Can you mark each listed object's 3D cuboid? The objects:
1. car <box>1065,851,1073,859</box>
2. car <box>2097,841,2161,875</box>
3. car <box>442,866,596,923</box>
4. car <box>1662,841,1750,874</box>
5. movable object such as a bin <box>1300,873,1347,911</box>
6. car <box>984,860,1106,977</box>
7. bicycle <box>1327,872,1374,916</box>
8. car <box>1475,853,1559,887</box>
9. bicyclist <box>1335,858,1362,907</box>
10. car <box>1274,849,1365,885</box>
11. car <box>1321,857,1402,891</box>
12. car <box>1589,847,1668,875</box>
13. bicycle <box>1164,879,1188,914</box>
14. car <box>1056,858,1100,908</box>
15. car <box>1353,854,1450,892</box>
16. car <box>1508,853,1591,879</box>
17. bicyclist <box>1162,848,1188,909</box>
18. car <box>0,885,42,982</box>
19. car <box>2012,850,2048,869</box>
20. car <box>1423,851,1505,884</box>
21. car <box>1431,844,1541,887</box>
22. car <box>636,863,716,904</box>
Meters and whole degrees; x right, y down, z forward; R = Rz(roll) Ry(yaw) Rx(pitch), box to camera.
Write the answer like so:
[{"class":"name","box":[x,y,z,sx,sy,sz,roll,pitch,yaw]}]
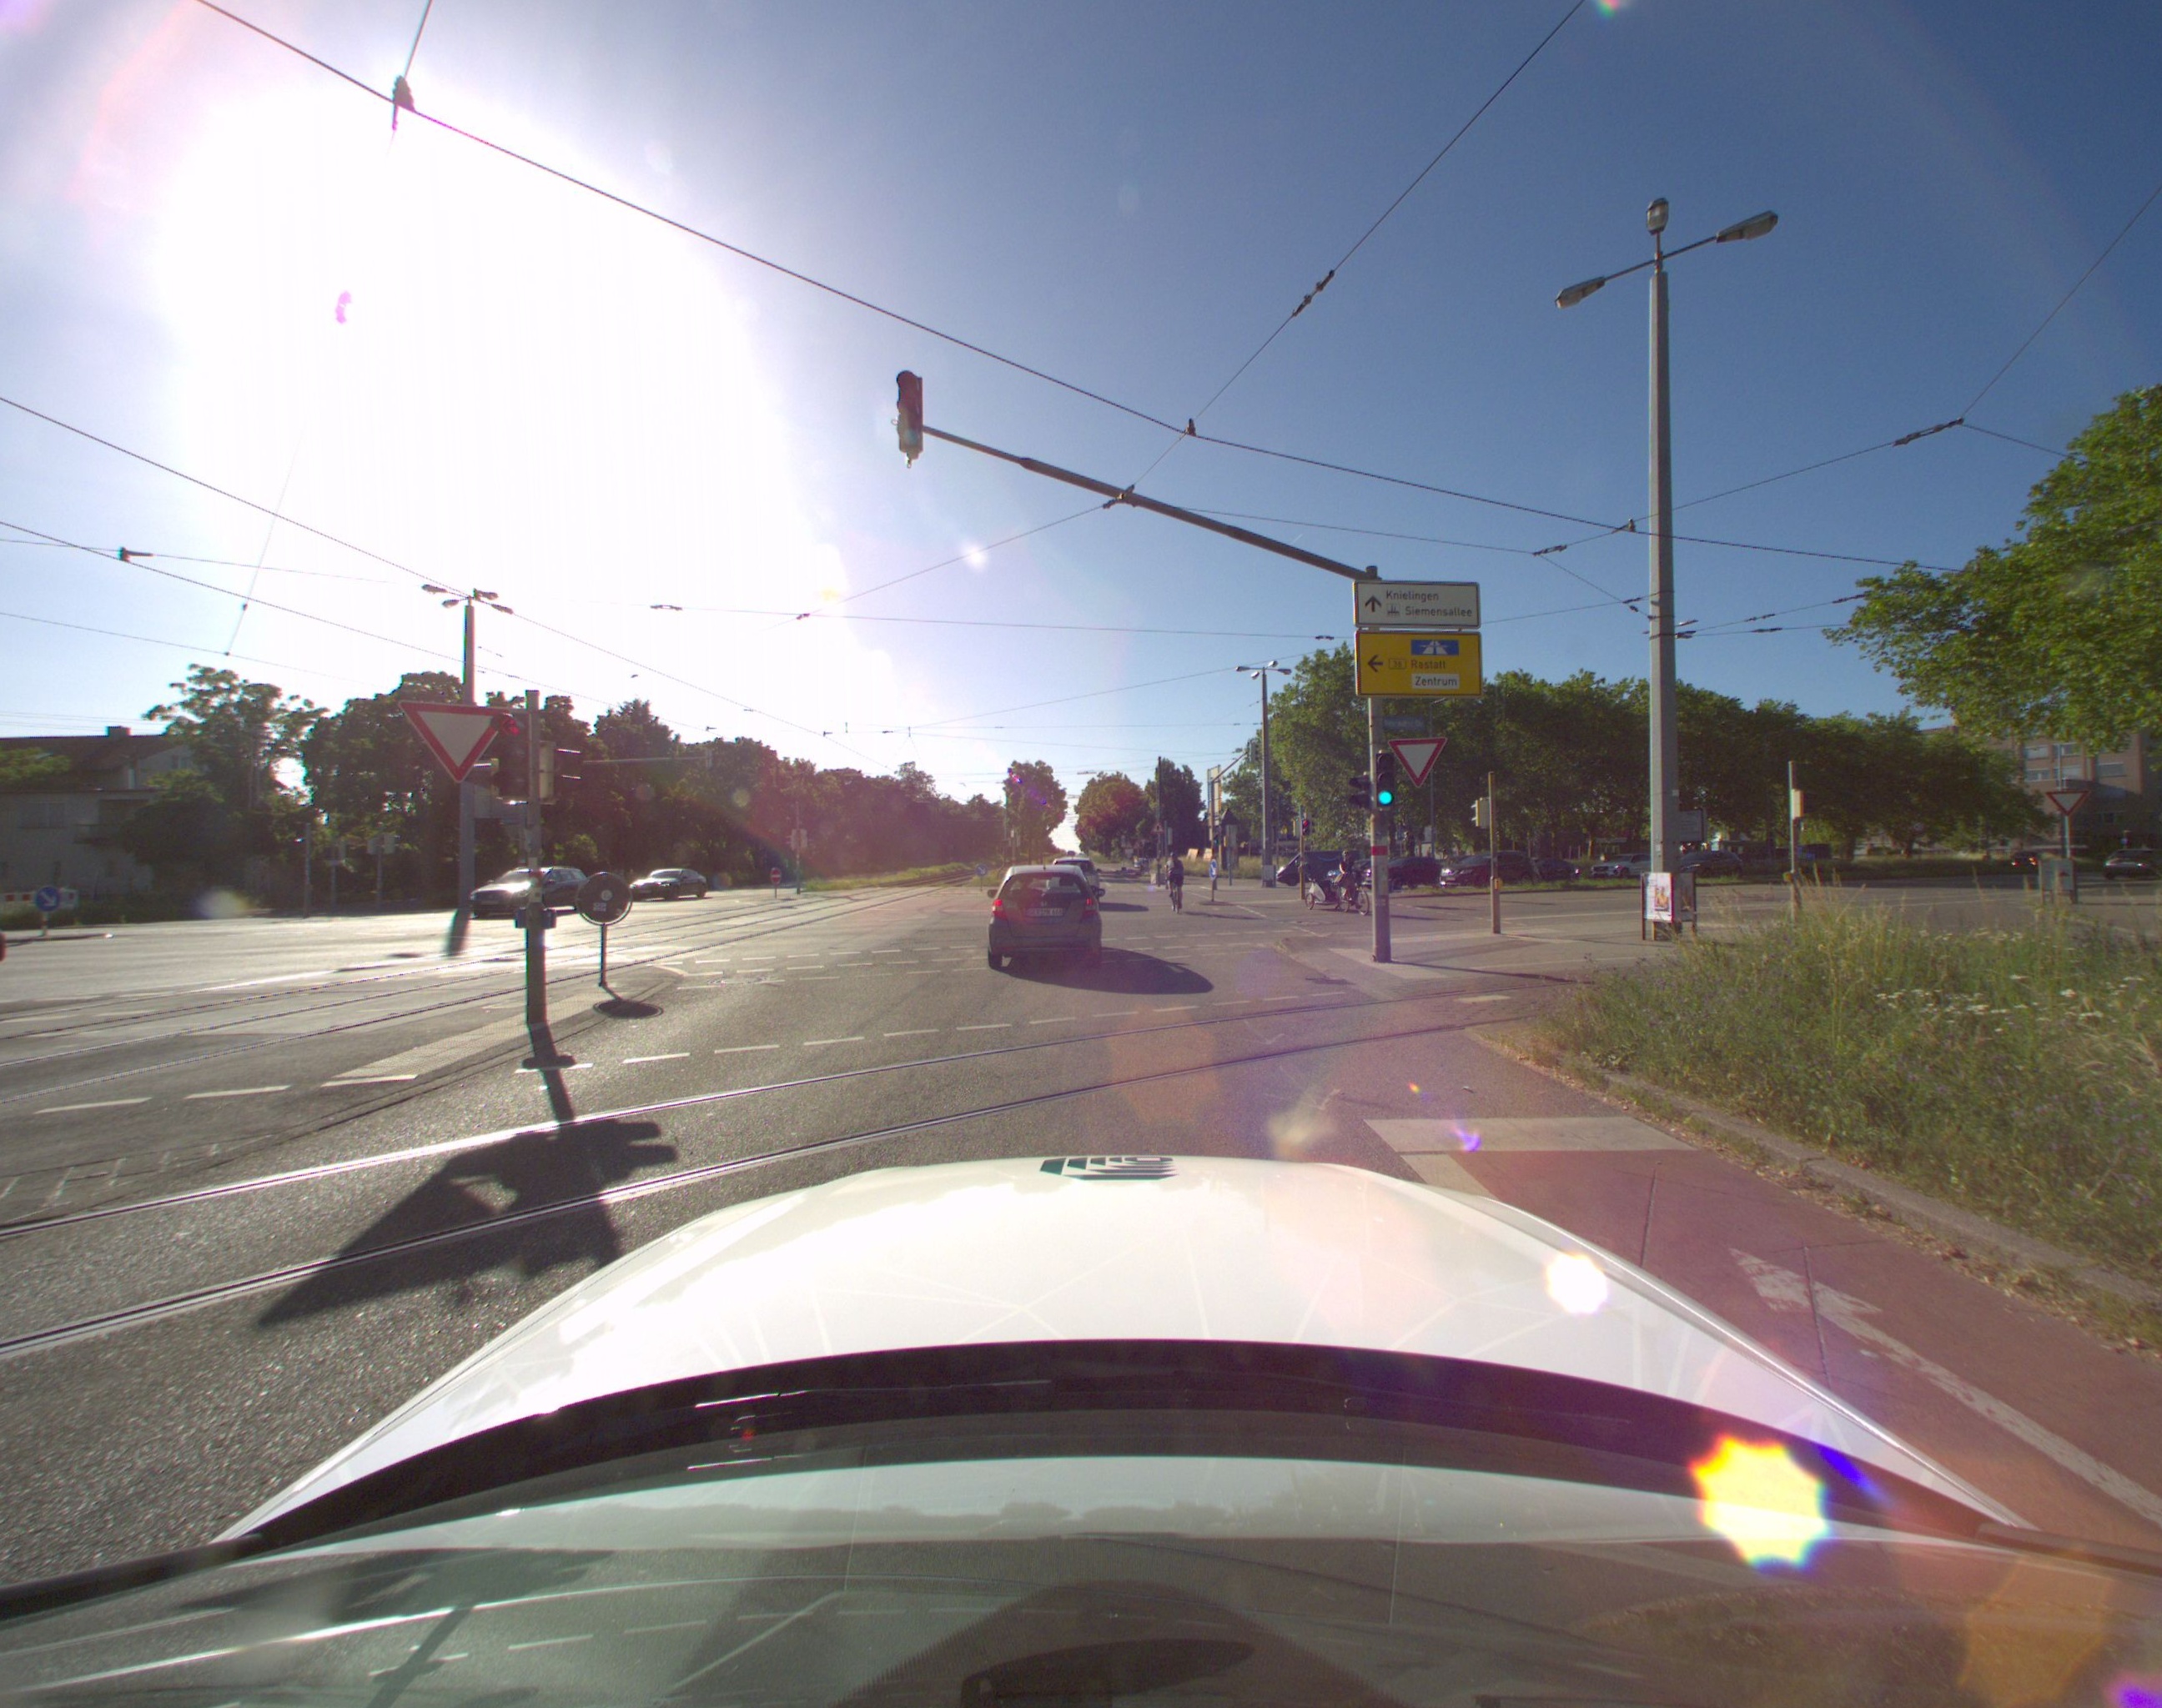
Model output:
[{"class":"car","box":[-3.180,0.355,213.496,1.986,2.014,4.000,-1,-1,1]},{"class":"car","box":[54.473,0.216,41.956,3.779,1.704,1.812,0,-1,-25]},{"class":"car","box":[-17.732,1.216,26.025,1.809,1.596,4.688,-1,-1,-3]},{"class":"car","box":[32.178,0.146,41.925,4.007,1.618,1.983,-1,0,-26]},{"class":"movable object such as a bin","box":[7.160,1.114,24.152,0.907,1.068,1.314,-1,-1,-5]},{"class":"car","box":[-0.440,0.908,13.084,1.664,1.515,3.675,1,1,1]},{"class":"bicycle","box":[7.377,1.073,22.352,0.466,1.119,1.815,-1,-1,-8]},{"class":"car","box":[22.121,0.781,41.304,3.863,1.600,1.700,-1,-1,-23]},{"class":"bicyclist","box":[7.442,0.792,22.664,0.509,1.340,0.563,-1,-1,-9]},{"class":"car","box":[14.470,0.780,49.638,5.073,2.070,2.136,-1,-1,8]},{"class":"car","box":[14.484,1.007,42.013,3.868,1.600,1.698,-1,-1,-27]},{"class":"car","box":[33.514,0.461,49.838,4.784,1.682,1.893,1,-2,-26]},{"class":"bicycle","box":[2.737,1.213,23.613,0.522,0.923,2.090,-1,-1,2]},{"class":"car","box":[-0.071,0.931,27.212,1.346,1.528,3.123,-1,-1,1]},{"class":"car","box":[14.866,0.856,37.804,4.094,1.600,1.802,-1,-1,-23]},{"class":"car","box":[27.162,0.672,47.237,4.579,1.408,1.918,-1,-1,-26]},{"class":"bicyclist","box":[2.687,0.697,23.407,0.613,1.679,0.933,-1,-1,1]},{"class":"car","box":[-17.188,1.207,10.963,1.678,1.458,3.701,-1,-1,-1]},{"class":"car","box":[85.769,0.515,73.596,3.216,1.616,1.361,-1,-1,-27]},{"class":"car","box":[20.988,0.744,44.625,4.184,1.678,1.918,-1,-1,-27]},{"class":"car","box":[17.529,0.483,35.233,4.504,1.711,1.904,-1,-1,-26]},{"class":"car","box":[-17.900,1.258,36.168,1.788,1.688,3.994,-1,-1,-5]}]
